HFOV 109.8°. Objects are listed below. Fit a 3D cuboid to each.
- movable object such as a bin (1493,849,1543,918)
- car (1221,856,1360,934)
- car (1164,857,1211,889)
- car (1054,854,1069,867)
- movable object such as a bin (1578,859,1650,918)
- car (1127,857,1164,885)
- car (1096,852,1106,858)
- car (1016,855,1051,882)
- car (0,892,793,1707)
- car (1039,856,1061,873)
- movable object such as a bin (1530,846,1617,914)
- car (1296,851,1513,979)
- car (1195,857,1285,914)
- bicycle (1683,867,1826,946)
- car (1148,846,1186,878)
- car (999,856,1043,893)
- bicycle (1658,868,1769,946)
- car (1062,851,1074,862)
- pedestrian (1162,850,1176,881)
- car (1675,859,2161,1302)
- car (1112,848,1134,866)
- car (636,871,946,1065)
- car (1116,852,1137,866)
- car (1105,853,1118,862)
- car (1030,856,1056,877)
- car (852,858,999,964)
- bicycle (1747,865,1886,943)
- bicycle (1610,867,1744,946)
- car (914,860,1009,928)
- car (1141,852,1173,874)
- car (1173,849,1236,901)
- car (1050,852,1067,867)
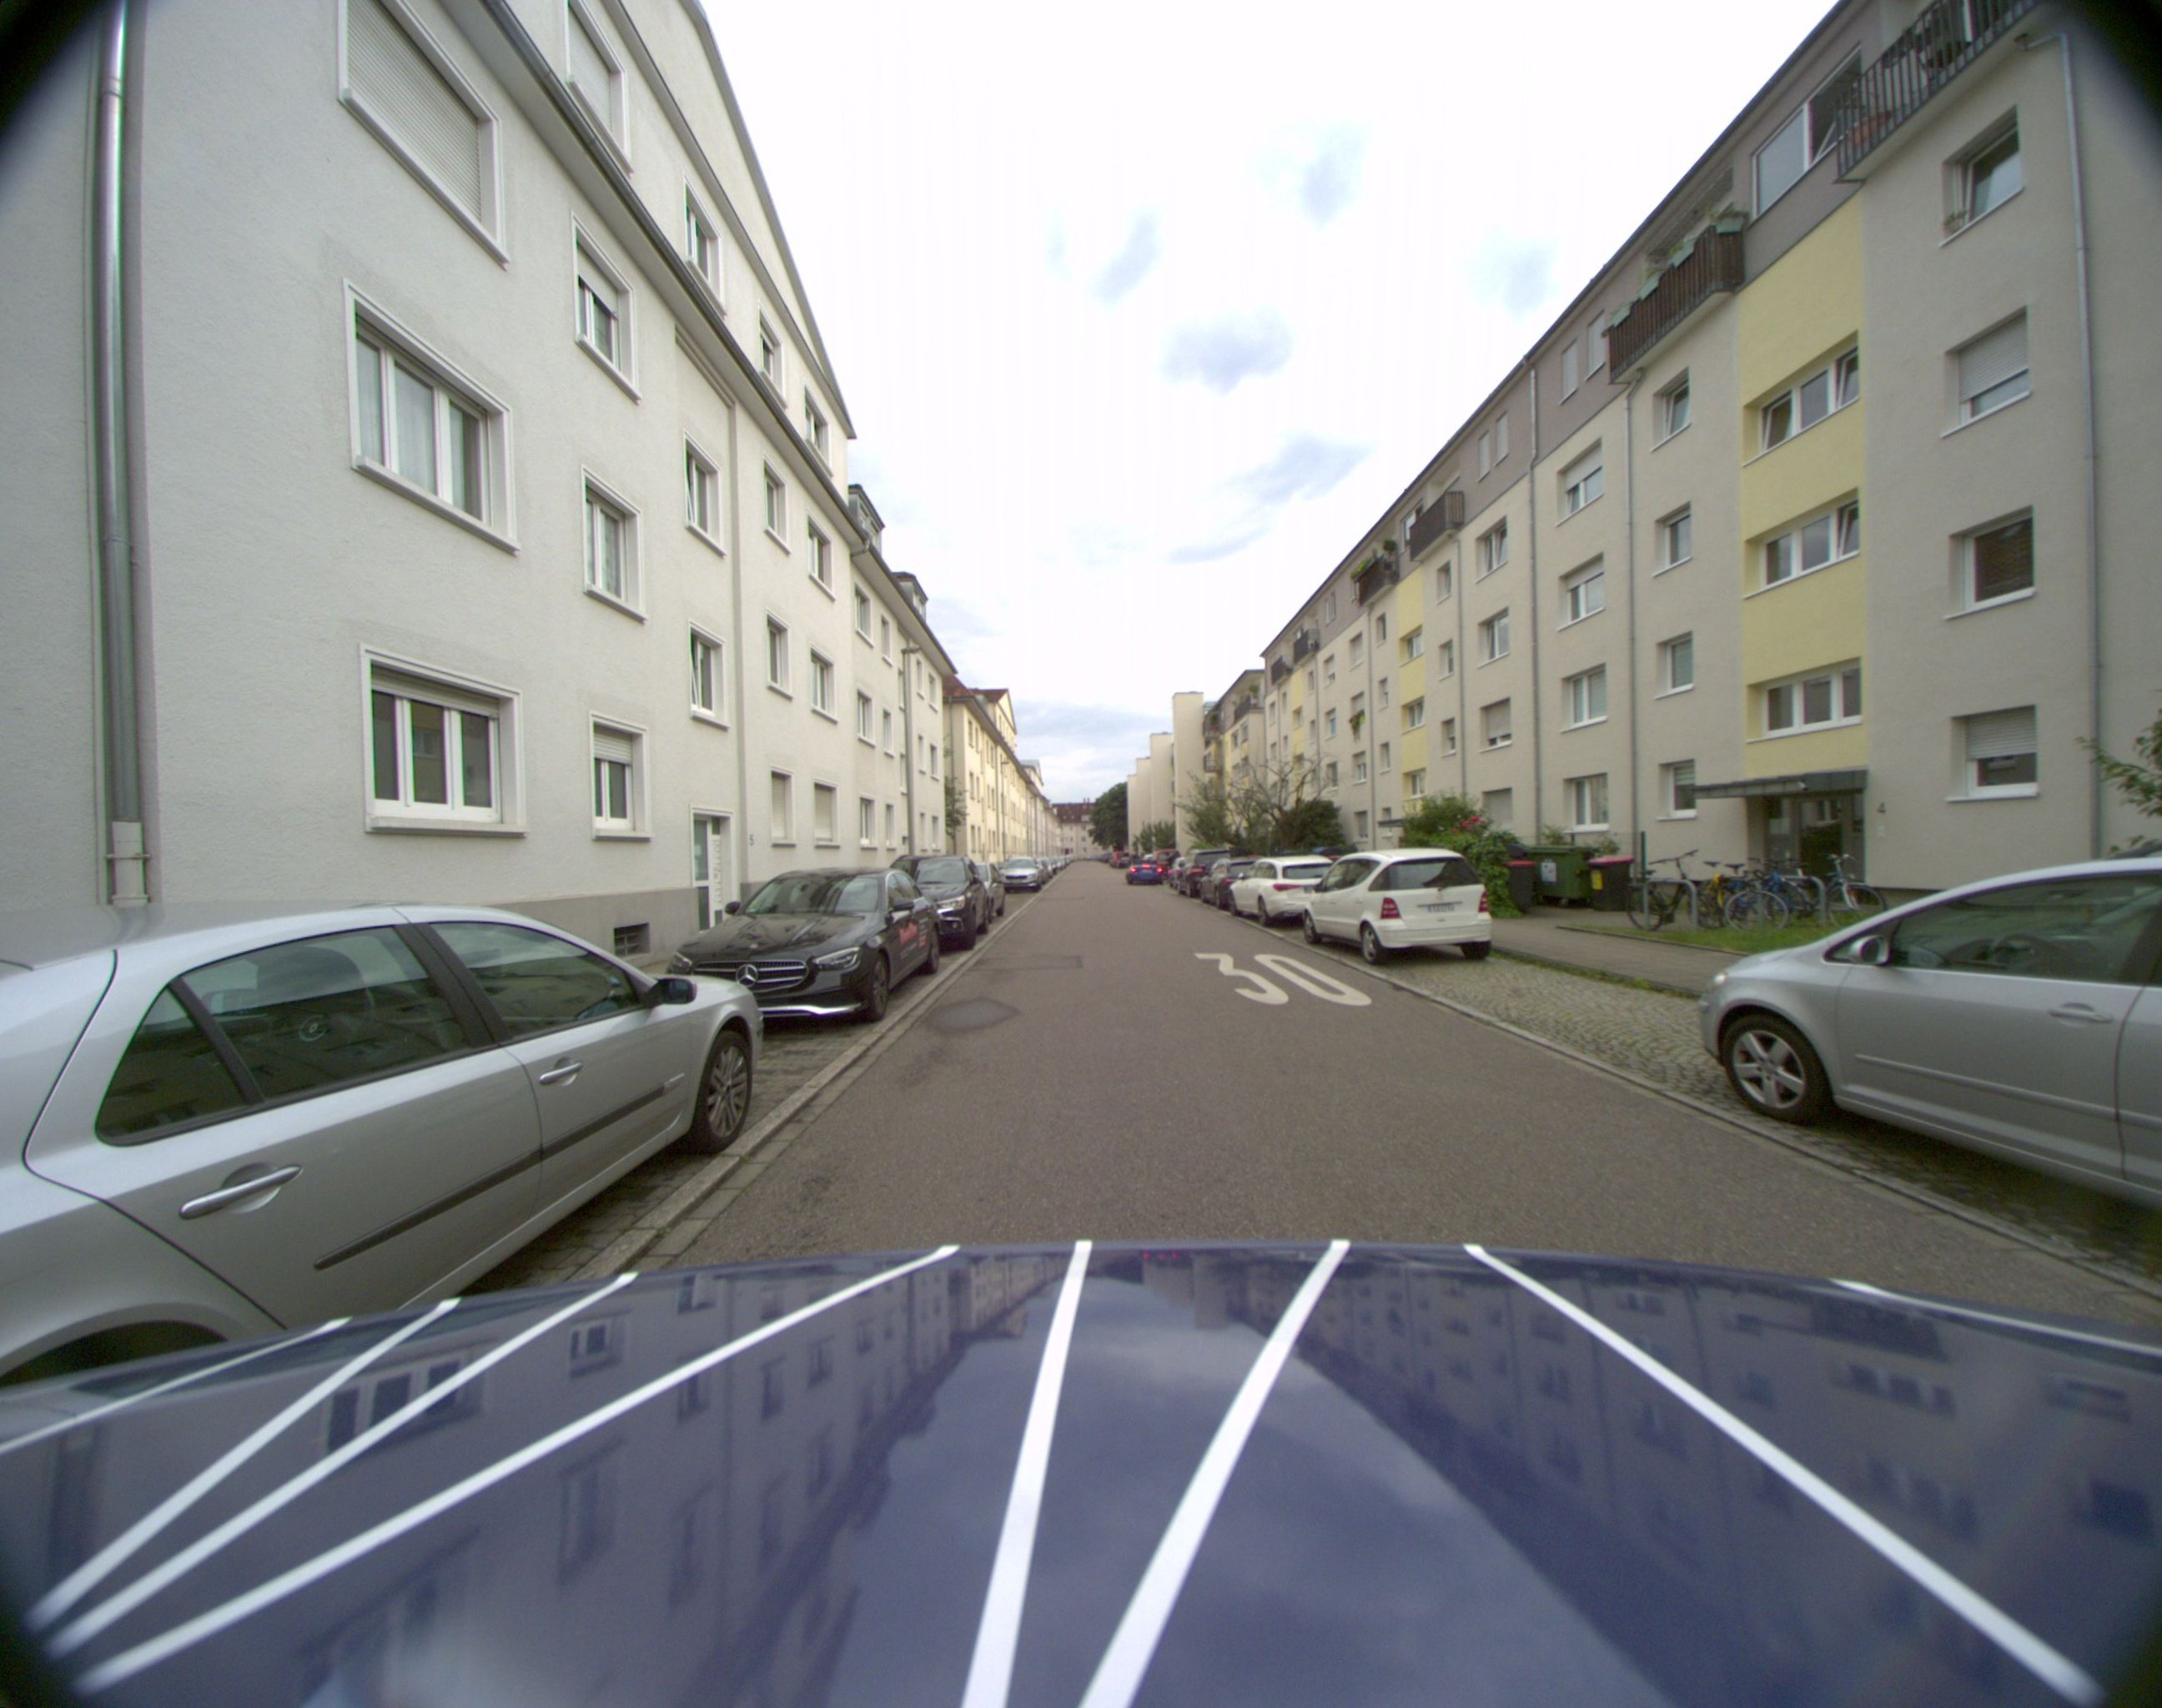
[{"bbox_3d":[9.044,0.595,15.732,0.659,1.360,0.587,-2,2,-4],"label":"movable object such as a bin"},{"bbox_3d":[4.619,0.835,17.509,1.723,1.501,4.686,-1,0,-2],"label":"car"},{"bbox_3d":[4.928,0.860,35.531,1.575,1.389,3.541,-1,0,-2],"label":"car"},{"bbox_3d":[-2.316,0.739,91.447,1.737,1.443,4.217,-1,0,-1],"label":"car"},{"bbox_3d":[10.638,0.677,15.176,0.871,1.103,0.787,-2,2,-4],"label":"movable object such as a bin"},{"bbox_3d":[3.409,0.855,40.745,1.679,1.307,3.907,-1,1,1],"label":"car"},{"bbox_3d":[4.763,0.231,180.646,1.745,1.534,3.636,-2,0,-6],"label":"car"},{"bbox_3d":[-2.661,0.809,43.523,1.737,1.418,4.217,-1,0,0],"label":"car"},{"bbox_3d":[-2.704,0.983,2.684,1.737,1.454,4.430,-1,0,-1],"label":"car"},{"bbox_3d":[-2.516,0.850,62.476,1.737,1.363,4.217,-1,0,-1],"label":"car"},{"bbox_3d":[10.500,0.529,16.242,1.059,1.367,1.188,-2,2,-5],"label":"movable object such as a bin"},{"bbox_3d":[4.747,0.796,11.772,1.689,1.629,3.727,-1,0,-1],"label":"car"},{"bbox_3d":[4.621,0.859,22.692,1.729,1.445,4.482,-1,0,0],"label":"car"},{"bbox_3d":[9.672,0.715,11.004,0.479,1.018,1.754,-1,0,0],"label":"bicycle"},{"bbox_3d":[5.184,0.479,46.083,1.707,1.795,3.541,-1,0,-2],"label":"car"},{"bbox_3d":[-2.670,0.890,34.610,1.737,1.538,3.677,-1,0,-1],"label":"car"},{"bbox_3d":[9.176,0.733,11.089,0.357,1.018,1.497,-1,0,0],"label":"bicycle"},{"bbox_3d":[-2.051,0.436,120.473,1.737,1.670,3.591,-1,0,-1],"label":"car"},{"bbox_3d":[4.769,0.608,41.213,0.603,1.657,0.622,-2,0,-2],"label":"pedestrian"},{"bbox_3d":[4.705,0.820,2.946,1.658,1.541,3.915,-2,0,-1],"label":"car"},{"bbox_3d":[5.103,0.351,92.475,2.188,2.019,4.422,-1,0,-2],"label":"car"},{"bbox_3d":[-2.737,0.977,8.340,1.786,1.454,4.322,-1,0,-1],"label":"car"},{"bbox_3d":[5.139,0.594,86.240,2.013,1.436,4.197,-1,0,-2],"label":"car"},{"bbox_3d":[5.247,0.585,131.443,1.745,1.534,3.636,-2,0,-6],"label":"car"},{"bbox_3d":[-2.690,0.850,54.766,1.737,1.402,4.217,-1,0,-1],"label":"car"},{"bbox_3d":[-2.620,0.892,13.770,1.853,1.589,4.159,-1,0,-1],"label":"car"},{"bbox_3d":[10.558,0.681,10.977,0.421,1.018,1.559,-2,0,-3],"label":"bicycle"},{"bbox_3d":[8.696,0.728,11.194,0.489,1.018,1.878,-1,0,0],"label":"bicycle"},{"bbox_3d":[-2.844,0.901,18.830,1.737,1.478,3.756,-1,0,0],"label":"car"},{"bbox_3d":[5.176,0.628,52.272,1.707,1.436,3.541,-1,0,-2],"label":"car"},{"bbox_3d":[4.578,0.736,28.720,1.575,1.769,4.452,-1,0,-1],"label":"car"},{"bbox_3d":[-2.391,0.578,81.653,1.737,1.443,4.217,-1,0,-1],"label":"car"}]
